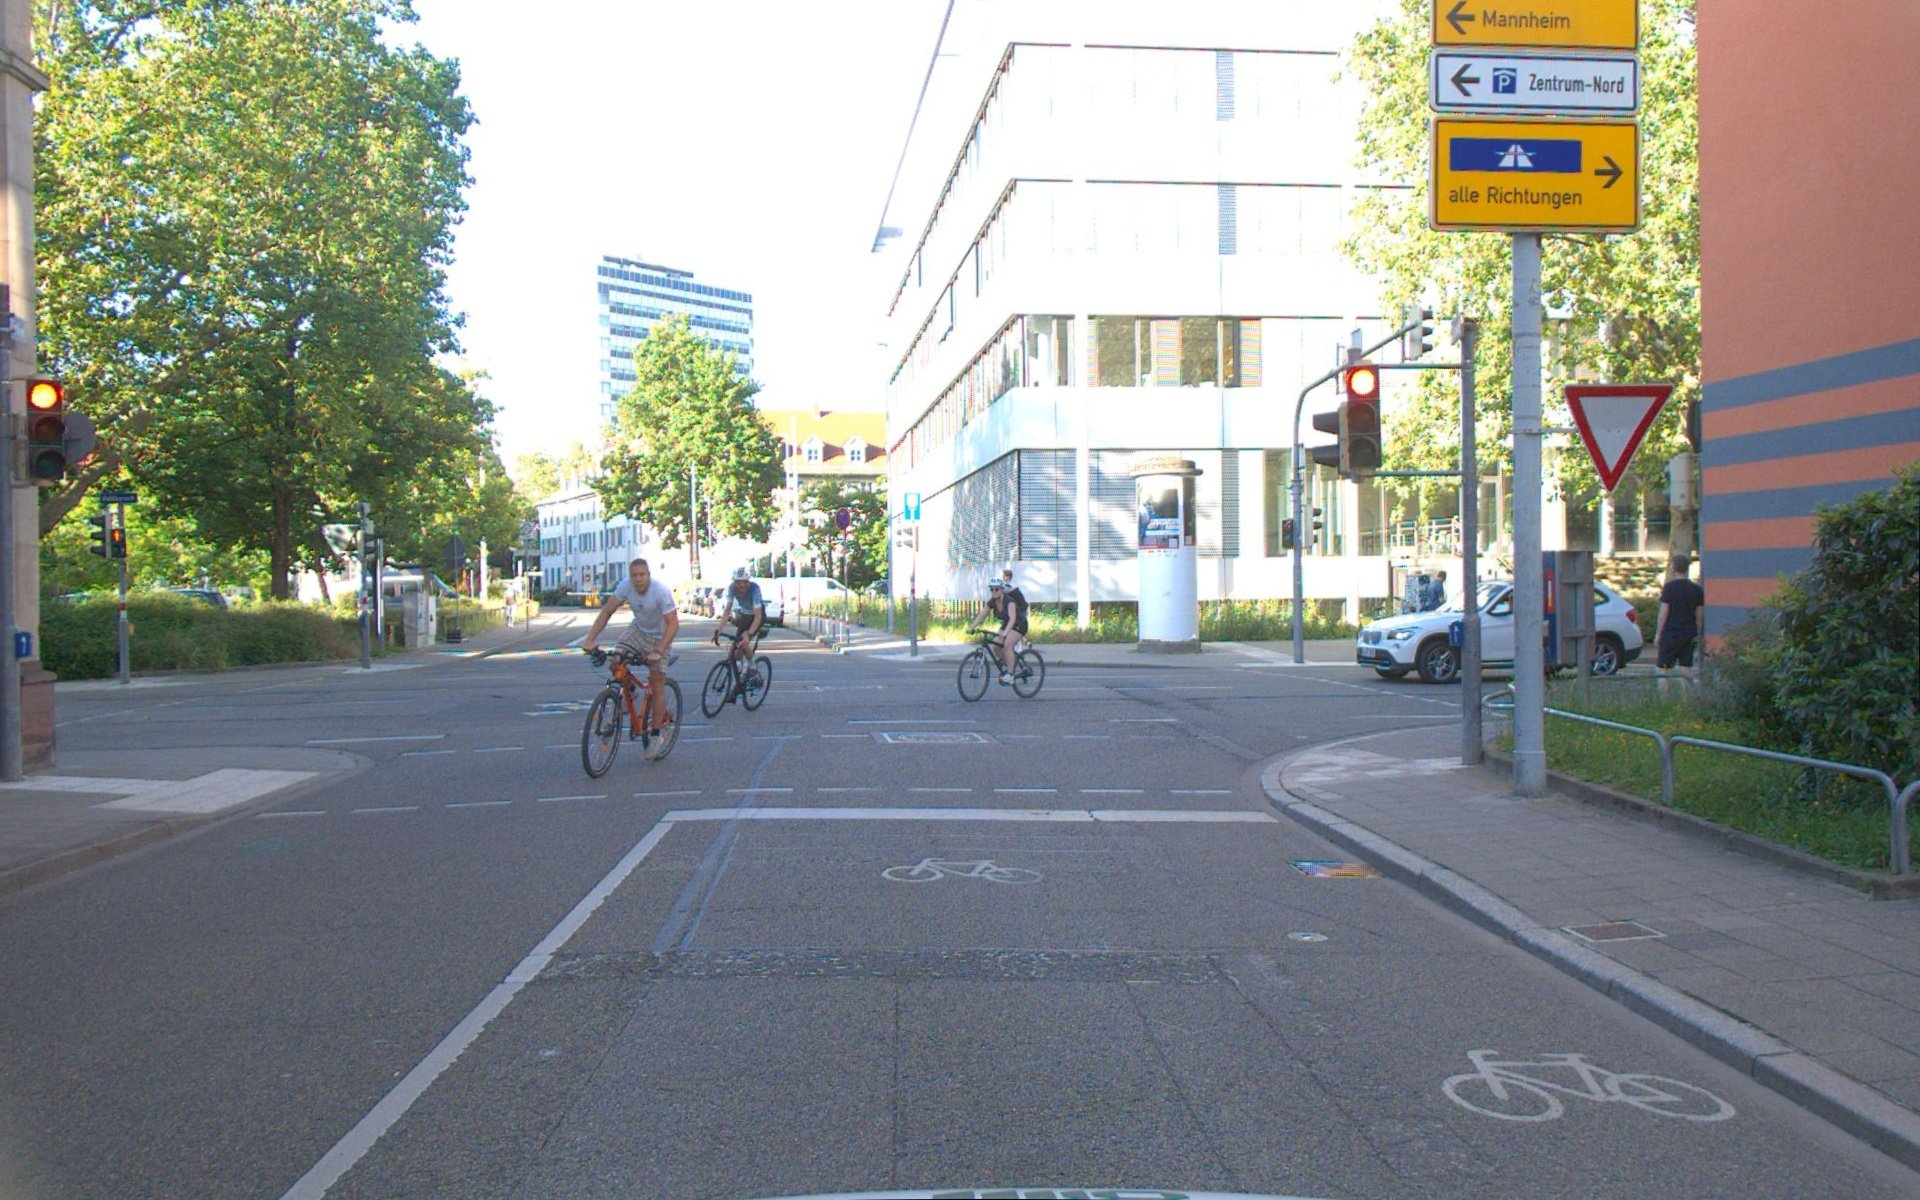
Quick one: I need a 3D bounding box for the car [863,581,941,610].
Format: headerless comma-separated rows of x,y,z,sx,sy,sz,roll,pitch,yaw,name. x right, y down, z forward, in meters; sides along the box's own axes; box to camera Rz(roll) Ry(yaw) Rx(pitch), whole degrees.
-3.681,-0.258,104.713,4.563,1.755,1.991,1,0,-17,car

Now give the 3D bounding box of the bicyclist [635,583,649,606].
-19.493,-0.354,101.369,0.578,1.421,0.748,-1,0,16,bicyclist

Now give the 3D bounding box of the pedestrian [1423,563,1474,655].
10.024,0.188,33.936,0.894,1.847,0.763,1,-1,10,pedestrian

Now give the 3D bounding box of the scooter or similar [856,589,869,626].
-3.430,0.257,58.226,0.429,1.278,1.418,-1,0,-5,scooter or similar

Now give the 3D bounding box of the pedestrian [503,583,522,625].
-17.350,0.155,64.125,0.688,1.614,0.634,1,-1,-16,pedestrian

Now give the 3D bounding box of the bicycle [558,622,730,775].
-2.692,0.809,14.321,0.612,1.172,1.971,-1,0,17,bicycle

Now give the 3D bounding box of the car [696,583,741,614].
-12.555,-0.063,85.778,1.959,1.525,4.637,1,0,-13,car

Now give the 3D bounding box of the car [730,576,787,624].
-7.919,0.007,64.692,1.957,1.755,4.641,1,0,-10,car

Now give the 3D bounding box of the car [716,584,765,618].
-10.198,0.048,76.642,1.958,1.525,4.639,1,0,-11,car

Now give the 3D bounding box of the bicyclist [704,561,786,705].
-2.548,0.379,19.636,0.613,1.657,0.826,-1,0,23,bicyclist

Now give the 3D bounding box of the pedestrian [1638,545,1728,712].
8.183,0.319,18.710,0.713,1.842,0.691,1,-1,-42,pedestrian

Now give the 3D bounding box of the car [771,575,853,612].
-9.206,-0.370,102.787,4.718,2.196,1.990,1,0,-18,car

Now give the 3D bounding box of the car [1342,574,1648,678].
8.309,0.375,25.798,4.279,1.541,1.714,0,0,-12,car

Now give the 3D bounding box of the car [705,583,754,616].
-11.311,-0.020,81.073,1.959,1.525,4.272,1,0,-13,car

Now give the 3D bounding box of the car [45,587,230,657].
-18.367,0.492,37.053,3.347,1.483,1.646,1,0,-11,car

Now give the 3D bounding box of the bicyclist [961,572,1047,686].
0.583,0.367,21.925,0.965,1.471,0.619,-1,0,-39,bicyclist

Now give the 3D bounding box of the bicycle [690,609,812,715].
-2.477,0.715,19.798,0.613,1.172,1.784,-1,0,23,bicycle

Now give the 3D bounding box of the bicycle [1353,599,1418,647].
9.323,0.497,36.274,0.376,1.026,1.410,-1,0,-42,bicycle

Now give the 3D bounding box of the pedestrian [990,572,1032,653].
1.111,0.269,36.112,0.749,1.749,0.648,1,-1,16,pedestrian

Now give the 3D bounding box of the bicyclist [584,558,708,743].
-2.704,0.419,14.317,0.687,1.549,0.919,-1,0,17,bicyclist

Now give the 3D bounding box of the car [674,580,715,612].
-15.389,-0.225,95.594,1.960,1.755,4.635,1,0,-14,car

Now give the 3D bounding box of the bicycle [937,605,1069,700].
0.584,0.675,21.918,1.767,1.172,0.619,-1,0,-40,bicycle

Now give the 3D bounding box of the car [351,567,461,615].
-24.966,-0.389,74.670,4.363,2.049,1.995,1,0,-10,car

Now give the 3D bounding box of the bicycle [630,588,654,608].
-19.483,-0.111,101.387,0.578,1.172,1.971,-1,0,16,bicycle

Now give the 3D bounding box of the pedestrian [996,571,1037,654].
1.269,0.269,37.009,0.749,1.826,0.648,1,-1,16,pedestrian
